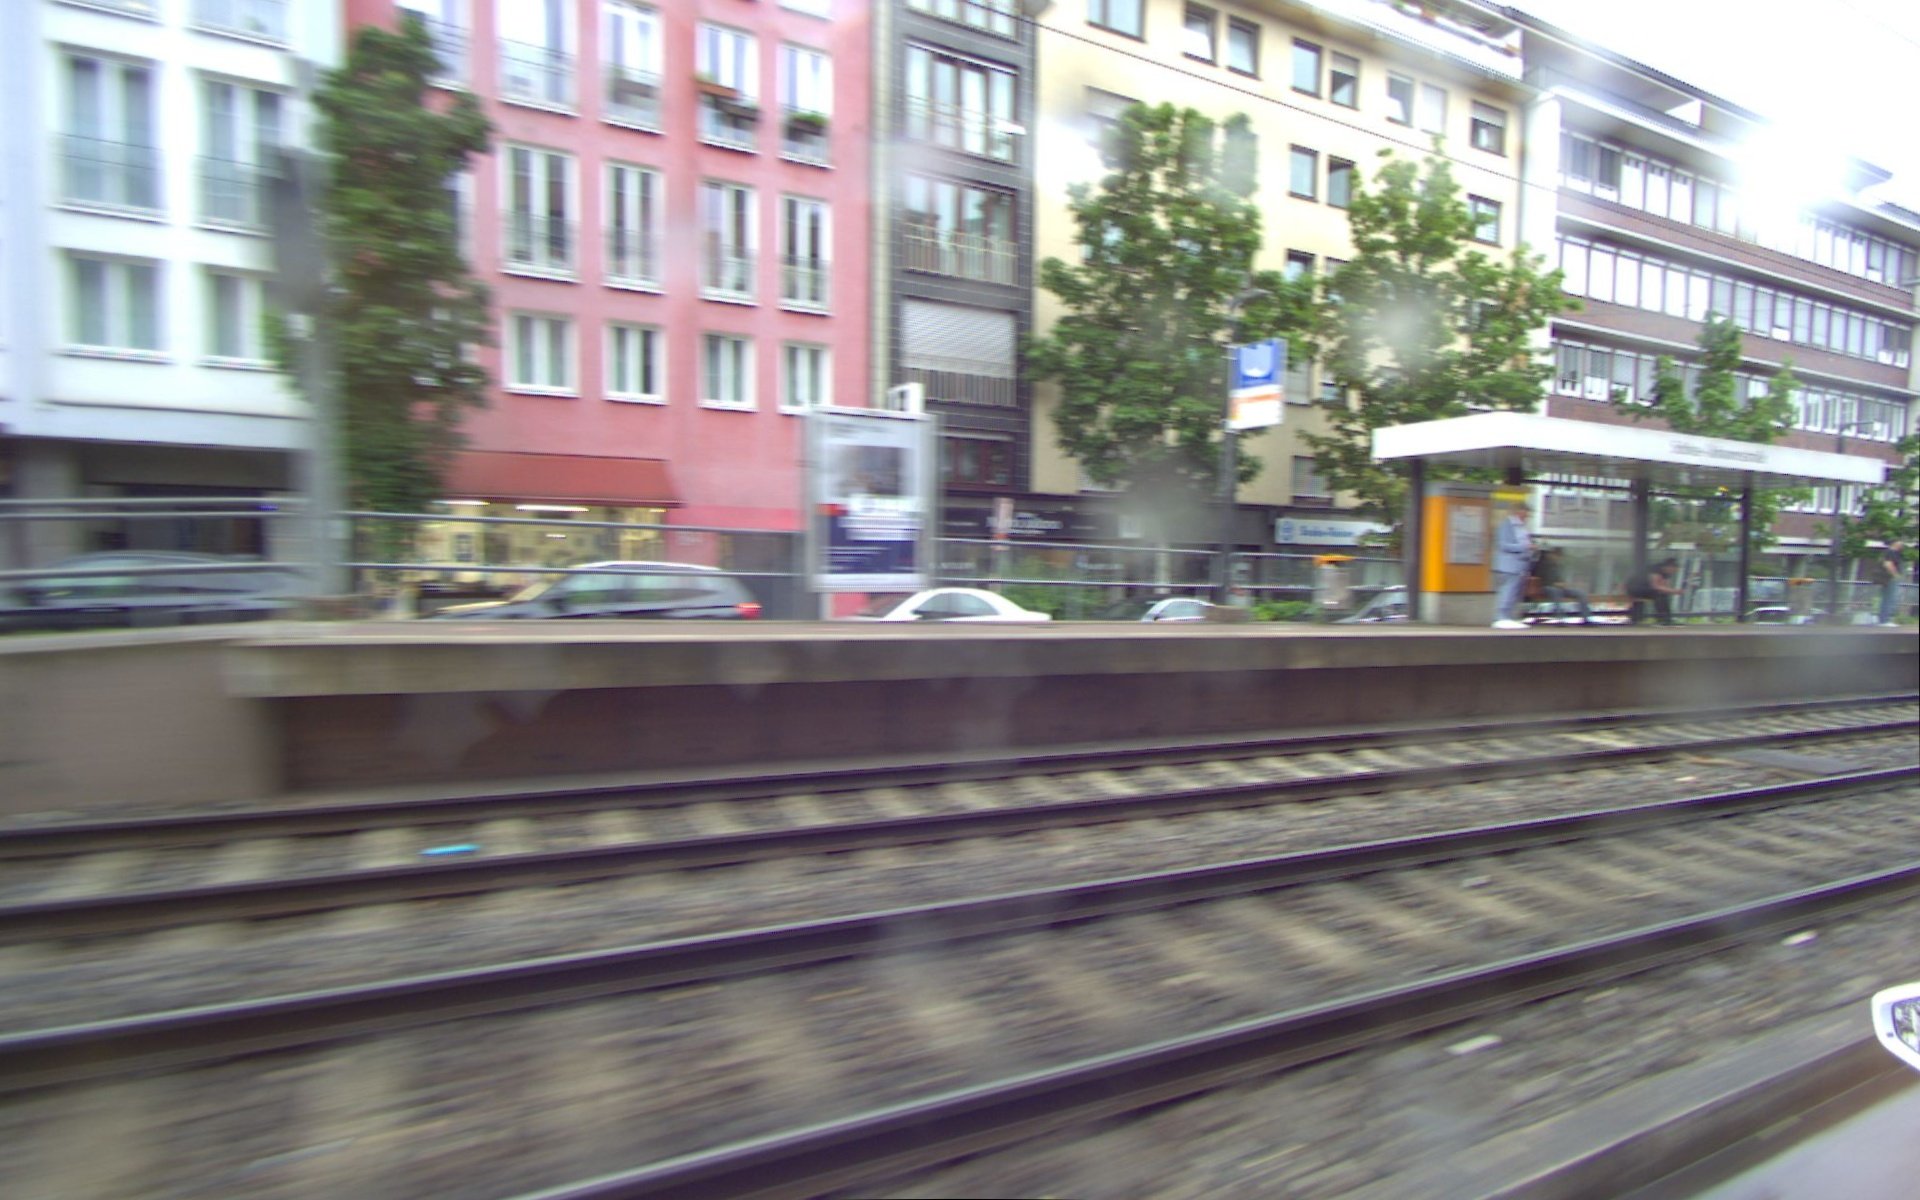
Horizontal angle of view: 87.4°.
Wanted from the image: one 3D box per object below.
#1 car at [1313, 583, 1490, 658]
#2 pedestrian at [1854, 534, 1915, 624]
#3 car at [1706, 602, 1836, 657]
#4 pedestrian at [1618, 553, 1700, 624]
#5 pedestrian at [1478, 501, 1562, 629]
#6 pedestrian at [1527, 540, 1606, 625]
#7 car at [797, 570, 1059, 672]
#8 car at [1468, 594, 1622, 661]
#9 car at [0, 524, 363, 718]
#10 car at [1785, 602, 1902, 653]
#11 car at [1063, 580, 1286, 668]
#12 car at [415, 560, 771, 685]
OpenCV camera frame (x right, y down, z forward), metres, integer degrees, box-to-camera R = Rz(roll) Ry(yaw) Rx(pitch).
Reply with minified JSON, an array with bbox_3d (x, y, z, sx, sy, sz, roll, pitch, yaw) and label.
[{"bbox_3d":[9.334,0.417,21.162,3.693,1.455,1.560,1,1,-31],"label":"car"},{"bbox_3d":[19.225,-0.425,20.894,0.840,1.826,0.652,1,1,-30],"label":"pedestrian"},{"bbox_3d":[23.443,0.828,29.001,4.190,1.455,1.560,1,1,-31],"label":"car"},{"bbox_3d":[11.622,-0.190,16.699,0.842,1.138,0.885,1,1,-38],"label":"pedestrian"},{"bbox_3d":[7.840,-0.478,14.069,0.840,1.734,0.652,1,1,-30],"label":"pedestrian"},{"bbox_3d":[9.418,-0.266,15.607,0.874,1.266,0.689,1,1,-30],"label":"pedestrian"},{"bbox_3d":[-0.466,0.317,16.052,3.934,1.455,1.560,1,1,-31],"label":"car"},{"bbox_3d":[13.962,0.626,23.938,3.693,1.455,1.560,1,1,-31],"label":"car"},{"bbox_3d":[-9.057,0.196,10.947,4.329,1.883,1.793,1,1,-31],"label":"car"},{"bbox_3d":[27.653,0.835,31.401,4.130,1.455,1.560,1,1,-31],"label":"car"},{"bbox_3d":[3.989,0.417,18.515,3.934,1.455,1.664,1,1,-31],"label":"car"},{"bbox_3d":[-4.914,0.267,13.599,4.270,1.455,1.831,1,1,-31],"label":"car"}]
